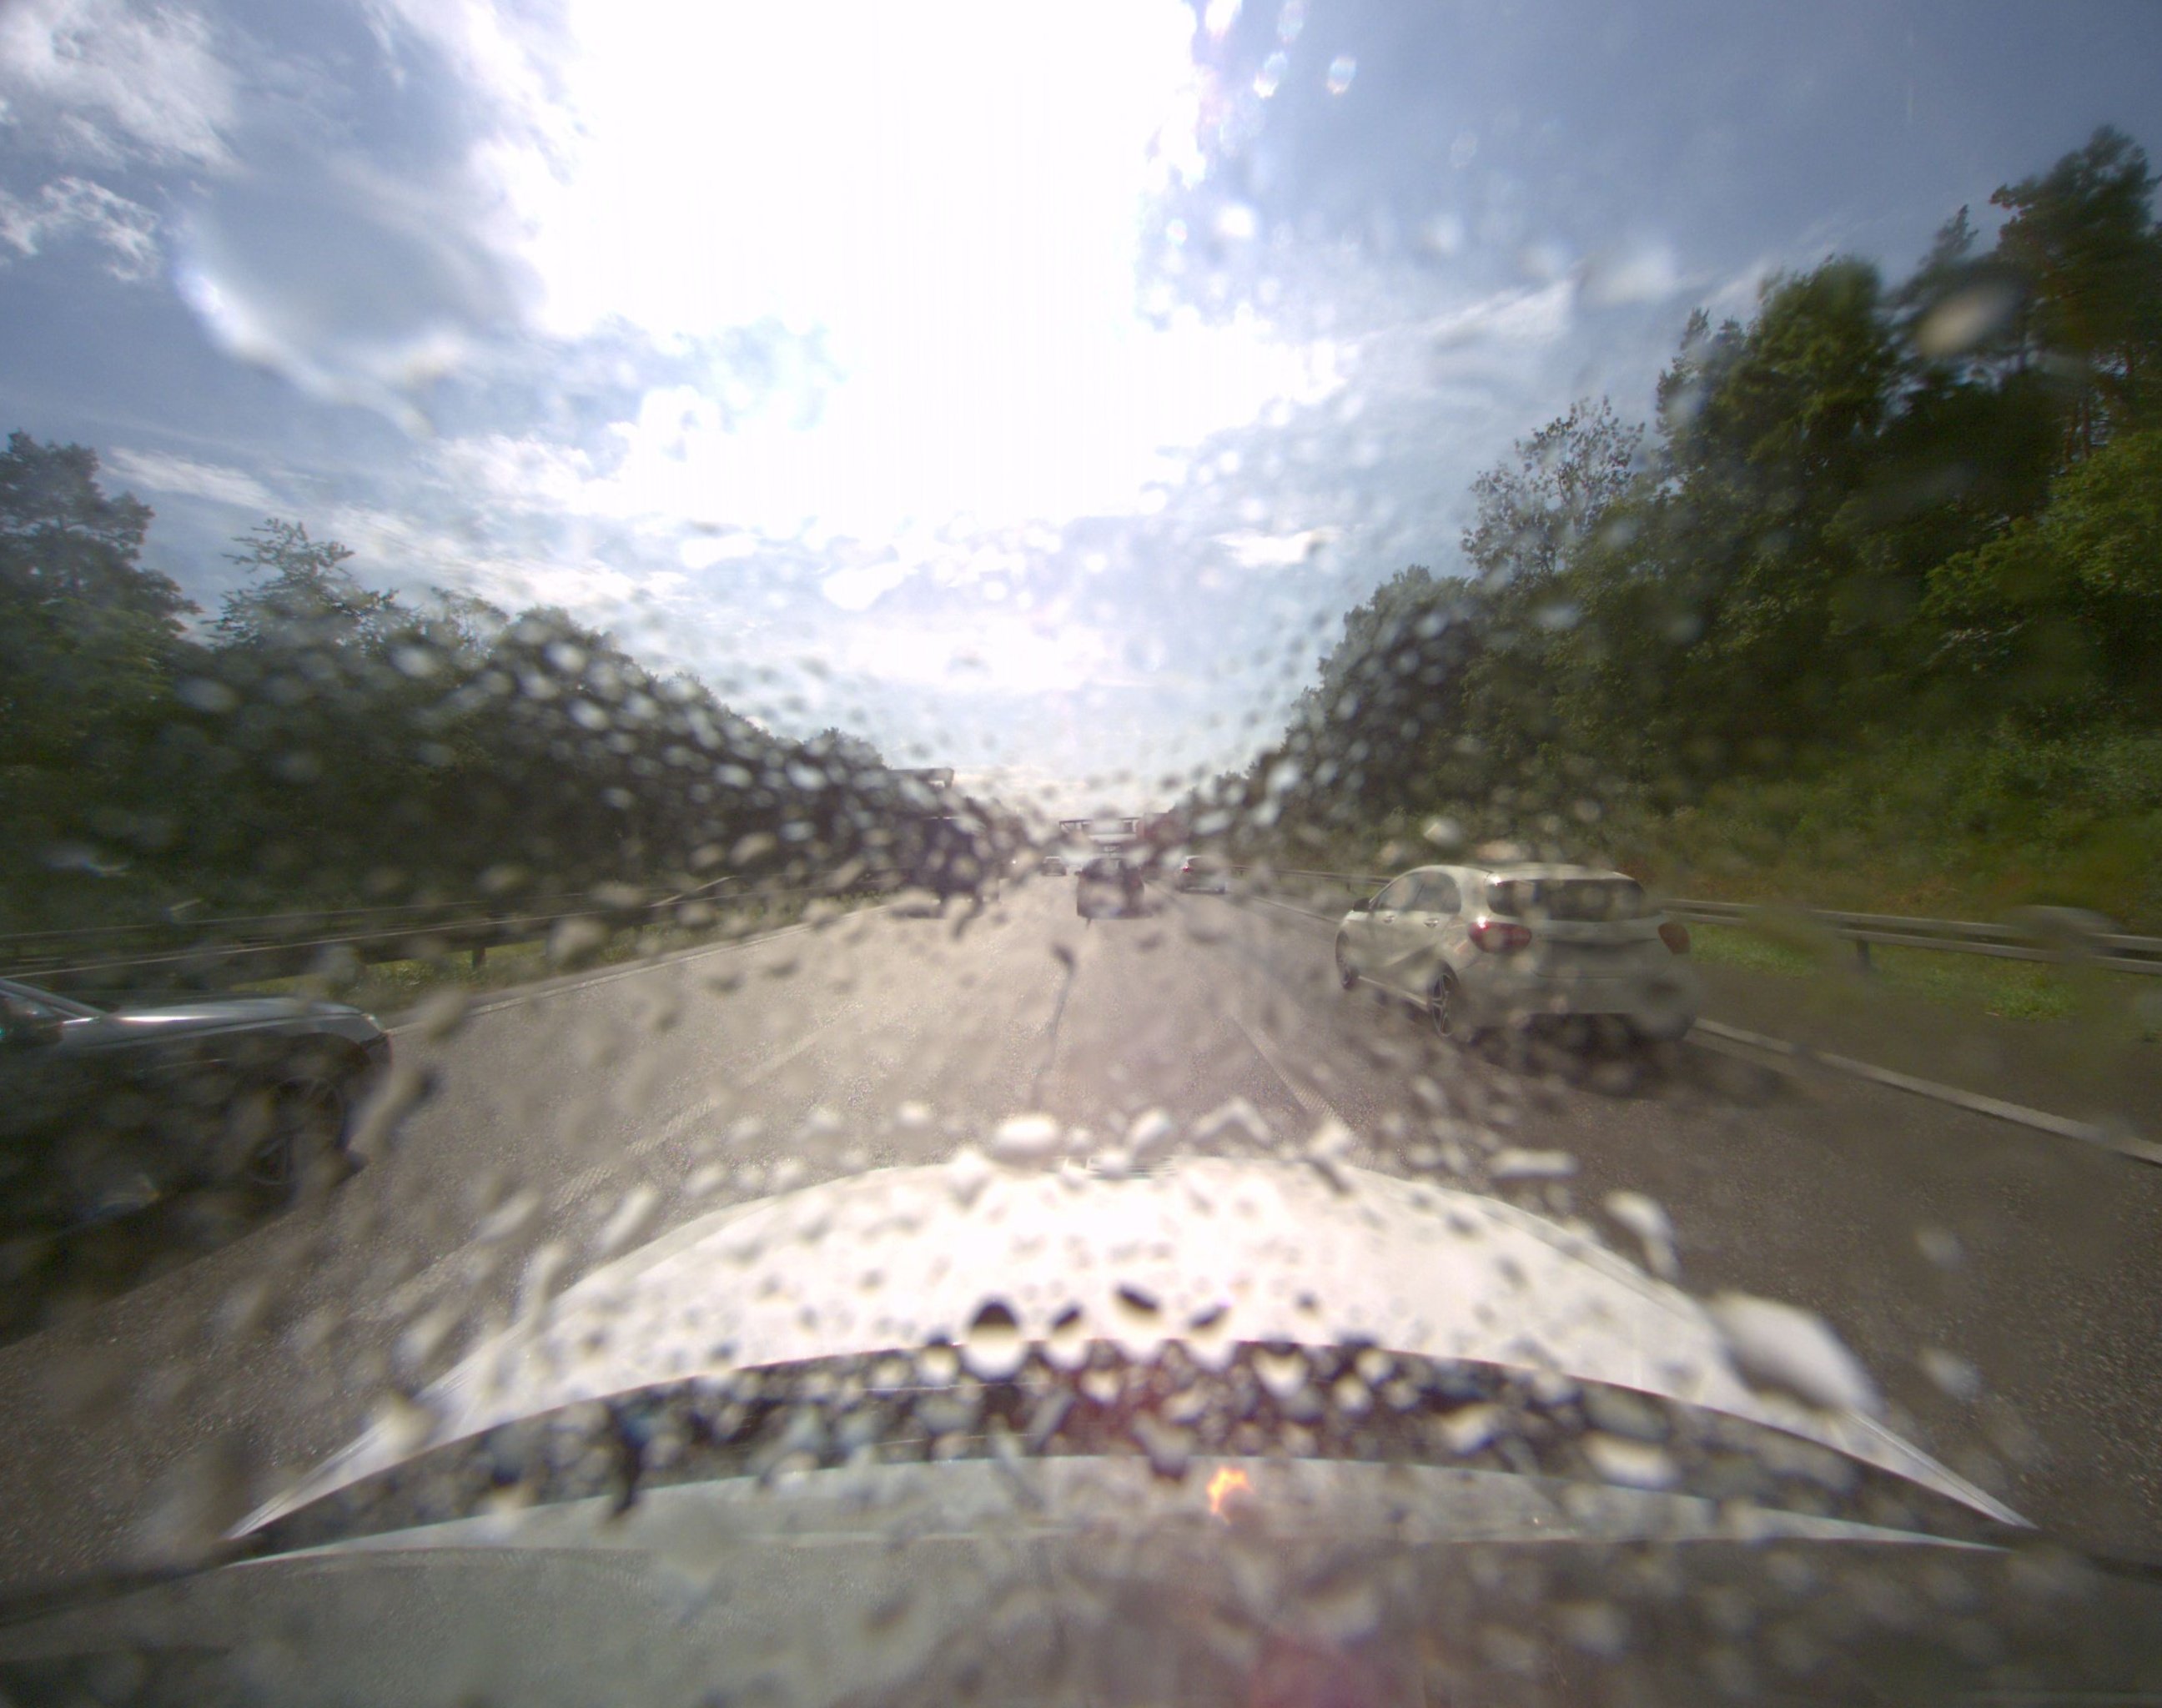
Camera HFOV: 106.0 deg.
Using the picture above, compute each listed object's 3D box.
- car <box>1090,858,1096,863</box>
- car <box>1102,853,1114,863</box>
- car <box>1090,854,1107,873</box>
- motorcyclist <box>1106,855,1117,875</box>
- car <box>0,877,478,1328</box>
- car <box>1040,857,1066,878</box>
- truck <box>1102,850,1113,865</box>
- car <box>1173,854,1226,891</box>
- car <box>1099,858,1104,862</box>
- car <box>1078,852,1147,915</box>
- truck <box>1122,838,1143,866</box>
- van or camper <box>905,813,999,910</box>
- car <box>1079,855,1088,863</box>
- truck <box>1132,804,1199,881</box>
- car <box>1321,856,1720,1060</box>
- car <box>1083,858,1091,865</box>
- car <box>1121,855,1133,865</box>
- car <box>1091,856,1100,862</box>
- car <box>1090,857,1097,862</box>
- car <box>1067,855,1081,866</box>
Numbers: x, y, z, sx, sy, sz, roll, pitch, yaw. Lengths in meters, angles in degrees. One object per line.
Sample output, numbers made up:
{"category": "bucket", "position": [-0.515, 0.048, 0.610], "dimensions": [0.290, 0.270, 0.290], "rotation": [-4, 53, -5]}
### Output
{"category": "car", "position": [2.795, 1.521, 190.763], "dimensions": [1.544, 1.267, 3.484], "rotation": [0, 0, 0]}
{"category": "car", "position": [3.808, 0.563, 114.285], "dimensions": [1.547, 1.383, 3.209], "rotation": [0, 0, 0]}
{"category": "car", "position": [1.608, 0.849, 76.360], "dimensions": [1.526, 1.746, 3.484], "rotation": [0, 0, 0]}
{"category": "motorcyclist", "position": [2.501, 0.917, 66.687], "dimensions": [0.799, 1.633, 1.013], "rotation": [0, -1, 0]}
{"category": "car", "position": [-4.419, 0.834, 2.262], "dimensions": [1.788, 1.419, 4.840], "rotation": [0, 0, 1]}
{"category": "car", "position": [-2.188, 1.057, 64.432], "dimensions": [1.848, 1.551, 3.484], "rotation": [0, 0, 0]}
{"category": "truck", "position": [5.251, 0.770, 161.558], "dimensions": [2.185, 2.875, 4.849], "rotation": [0, 0, 0]}
{"category": "car", "position": [4.820, 0.737, 33.585], "dimensions": [1.675, 1.442, 3.904], "rotation": [0, 0, 0]}
{"category": "car", "position": [5.859, 1.754, 231.575], "dimensions": [1.544, 1.267, 3.484], "rotation": [0, 0, 0]}
{"category": "car", "position": [0.803, 0.745, 22.083], "dimensions": [1.712, 1.568, 3.484], "rotation": [0, 0, 0]}
{"category": "truck", "position": [8.779, -0.307, 140.403], "dimensions": [3.243, 4.479, 12.427], "rotation": [0, 0, 2]}
{"category": "van or camper", "position": [-3.809, 0.225, 25.078], "dimensions": [1.987, 2.669, 5.384], "rotation": [0, 0, 0]}
{"category": "car", "position": [0.496, 0.866, 135.371], "dimensions": [1.455, 1.393, 3.311], "rotation": [0, 0, 0]}
{"category": "truck", "position": [5.758, -0.656, 58.808], "dimensions": [3.636, 4.720, 16.786], "rotation": [0, 0, 2]}
{"category": "car", "position": [3.698, 0.746, 7.828], "dimensions": [1.685, 1.425, 4.222], "rotation": [0, 0, 2]}
{"category": "car", "position": [1.172, 1.515, 160.500], "dimensions": [1.544, 1.267, 3.484], "rotation": [0, 0, 0]}
{"category": "car", "position": [6.349, 0.870, 112.541], "dimensions": [1.547, 1.383, 3.209], "rotation": [0, 0, 0]}
{"category": "car", "position": [3.850, 1.333, 217.425], "dimensions": [1.985, 1.701, 4.004], "rotation": [-2, 0, 4]}
{"category": "car", "position": [3.120, 1.268, 203.064], "dimensions": [1.544, 1.267, 3.484], "rotation": [0, 0, 0]}
{"category": "car", "position": [-0.907, 0.920, 109.260], "dimensions": [1.745, 1.457, 3.389], "rotation": [0, 0, 0]}
